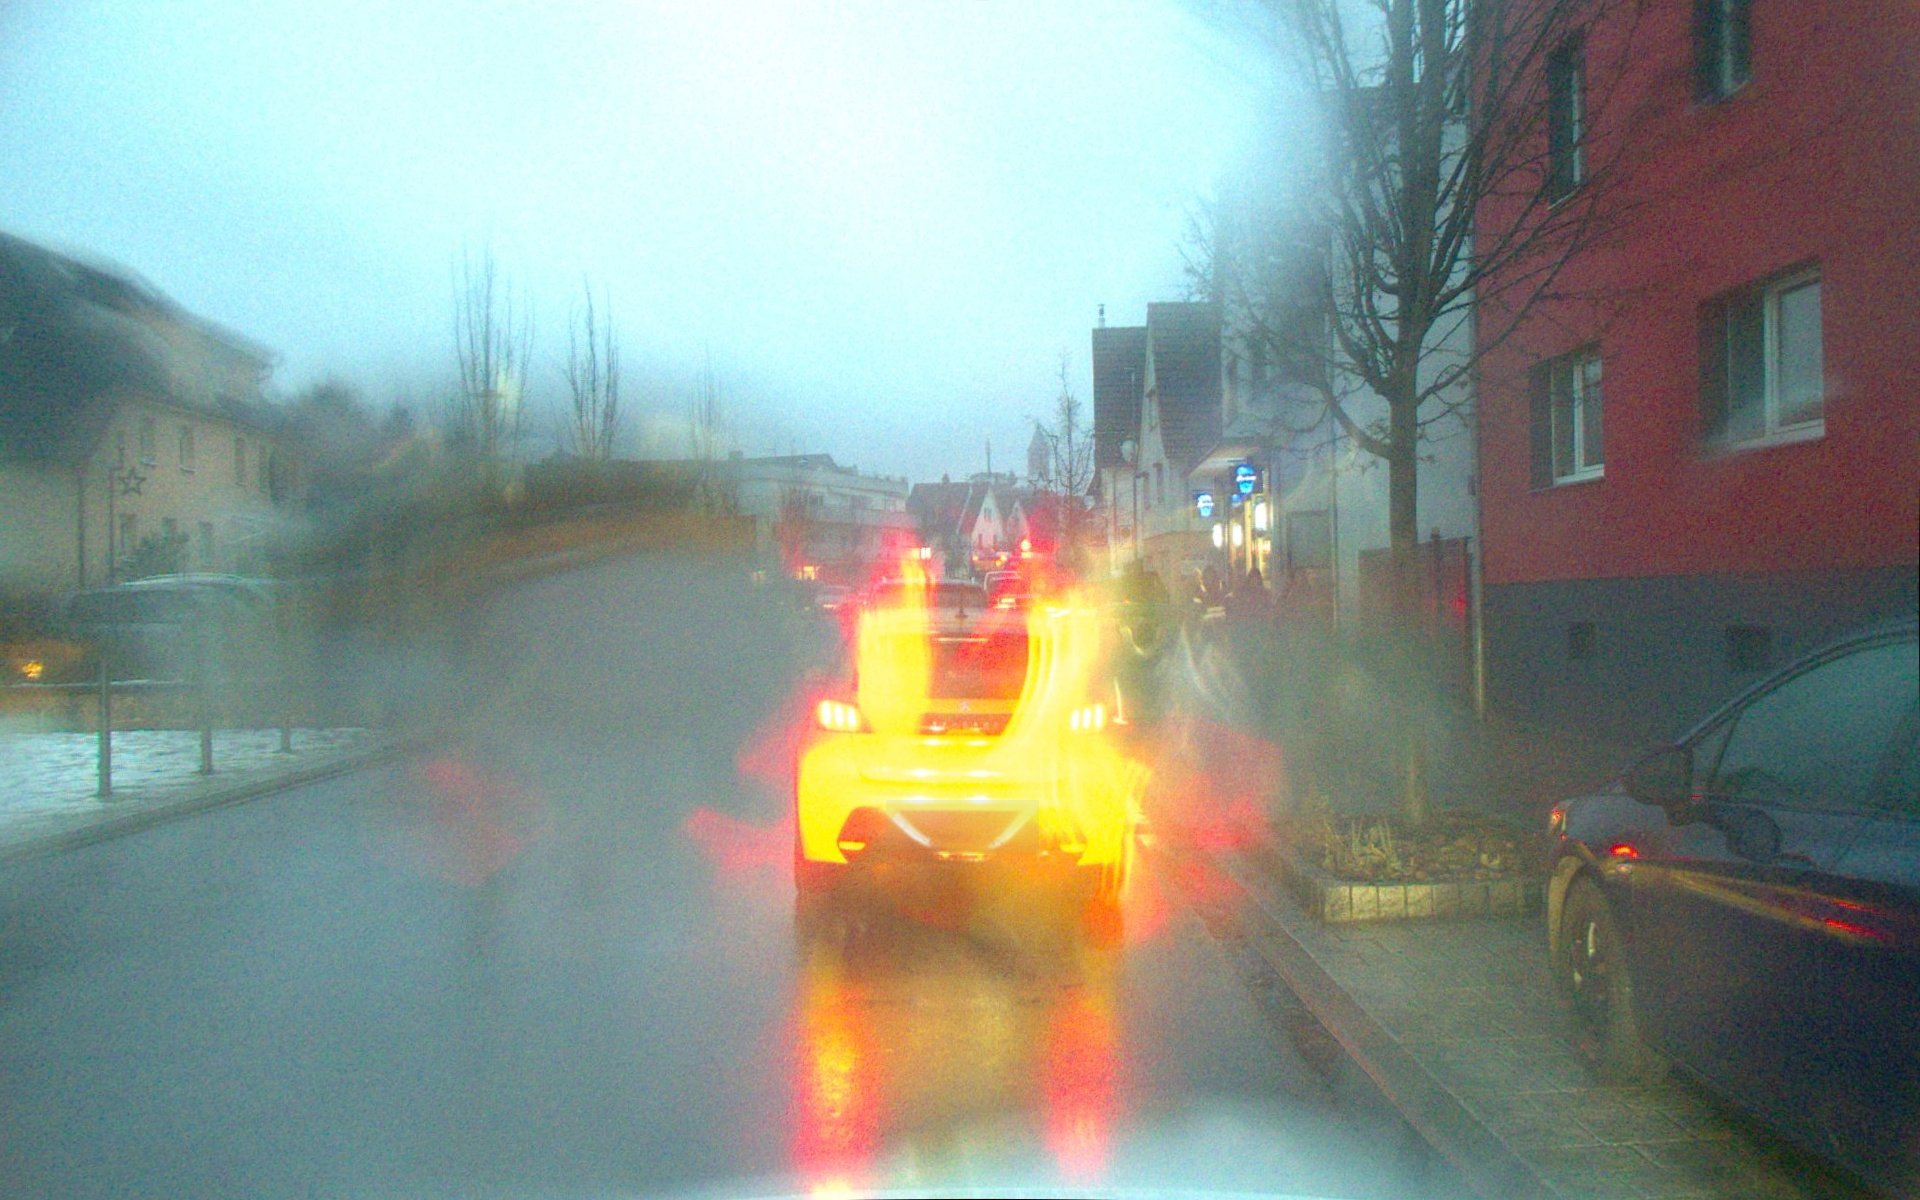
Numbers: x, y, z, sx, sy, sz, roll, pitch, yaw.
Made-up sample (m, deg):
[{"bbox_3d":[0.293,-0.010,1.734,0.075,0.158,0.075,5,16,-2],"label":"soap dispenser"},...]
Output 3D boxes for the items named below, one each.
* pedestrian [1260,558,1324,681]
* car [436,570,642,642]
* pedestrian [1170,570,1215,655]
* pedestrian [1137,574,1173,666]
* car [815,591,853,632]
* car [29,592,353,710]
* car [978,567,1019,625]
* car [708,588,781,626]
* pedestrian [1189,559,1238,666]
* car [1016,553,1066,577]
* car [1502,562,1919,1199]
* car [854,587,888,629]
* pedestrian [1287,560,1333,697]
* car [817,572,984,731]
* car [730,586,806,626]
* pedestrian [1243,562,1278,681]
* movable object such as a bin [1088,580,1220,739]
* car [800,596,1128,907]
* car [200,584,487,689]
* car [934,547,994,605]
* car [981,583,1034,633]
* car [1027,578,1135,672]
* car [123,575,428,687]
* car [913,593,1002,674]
[{"bbox_3d":[4.756,0.283,23.750,0.731,1.708,1.052,-2,-1,5],"label":"pedestrian"},{"bbox_3d":[-10.187,0.153,40.304,4.533,1.697,1.999,0,0,-3],"label":"car"},{"bbox_3d":[4.627,0.227,32.904,0.608,1.655,0.903,-1,1,-14],"label":"pedestrian"},{"bbox_3d":[3.725,0.376,31.658,0.561,1.729,0.653,-2,0,0],"label":"pedestrian"},{"bbox_3d":[-6.644,0.640,87.430,1.881,2.063,3.972,1,-2,-3],"label":"car"},{"bbox_3d":[-9.793,0.627,21.242,3.375,1.396,1.600,-1,0,-2],"label":"car"},{"bbox_3d":[1.778,-0.143,77.298,1.832,2.512,4.443,1,-2,0],"label":"car"},{"bbox_3d":[-11.916,0.391,91.385,4.097,2.011,1.810,-1,-3,44],"label":"car"},{"bbox_3d":[4.272,0.204,27.778,0.697,1.745,1.035,-2,1,13],"label":"pedestrian"},{"bbox_3d":[7.084,-3.060,144.785,4.281,1.858,2.000,1,-2,1],"label":"car"},{"bbox_3d":[2.749,0.635,3.728,1.693,1.490,4.199,-3,0,1],"label":"car"},{"bbox_3d":[-5.100,0.481,95.516,1.881,2.254,3.972,1,-2,-3],"label":"car"},{"bbox_3d":[4.418,0.368,20.911,0.517,1.682,0.954,0,-2,9],"label":"pedestrian"},{"bbox_3d":[-0.602,0.536,19.316,1.730,1.657,3.586,1,0,1],"label":"car"},{"bbox_3d":[-10.954,0.364,94.323,4.310,2.204,1.987,-1,-3,44],"label":"car"},{"bbox_3d":[4.716,0.328,25.991,0.517,1.832,0.865,0,0,9],"label":"pedestrian"},{"bbox_3d":[1.922,0.563,16.632,1.106,1.445,1.418,-4,1,1],"label":"movable object such as a bin"},{"bbox_3d":[0.002,0.714,9.322,1.531,1.437,3.017,1,0,-1],"label":"car"},{"bbox_3d":[-9.899,0.579,26.724,4.008,1.636,1.588,0,0,2],"label":"car"},{"bbox_3d":[0.290,-1.392,97.904,3.124,3.085,6.307,1,-2,4],"label":"car"},{"bbox_3d":[1.829,0.331,64.816,1.957,1.897,4.082,0,0,0],"label":"car"},{"bbox_3d":[2.339,0.458,32.909,1.700,1.722,4.385,-1,0,-1],"label":"car"},{"bbox_3d":[-9.876,0.429,24.015,3.713,1.549,1.716,0,0,6],"label":"car"},{"bbox_3d":[-0.073,0.564,29.969,1.510,1.355,3.311,1,0,-1],"label":"car"}]
